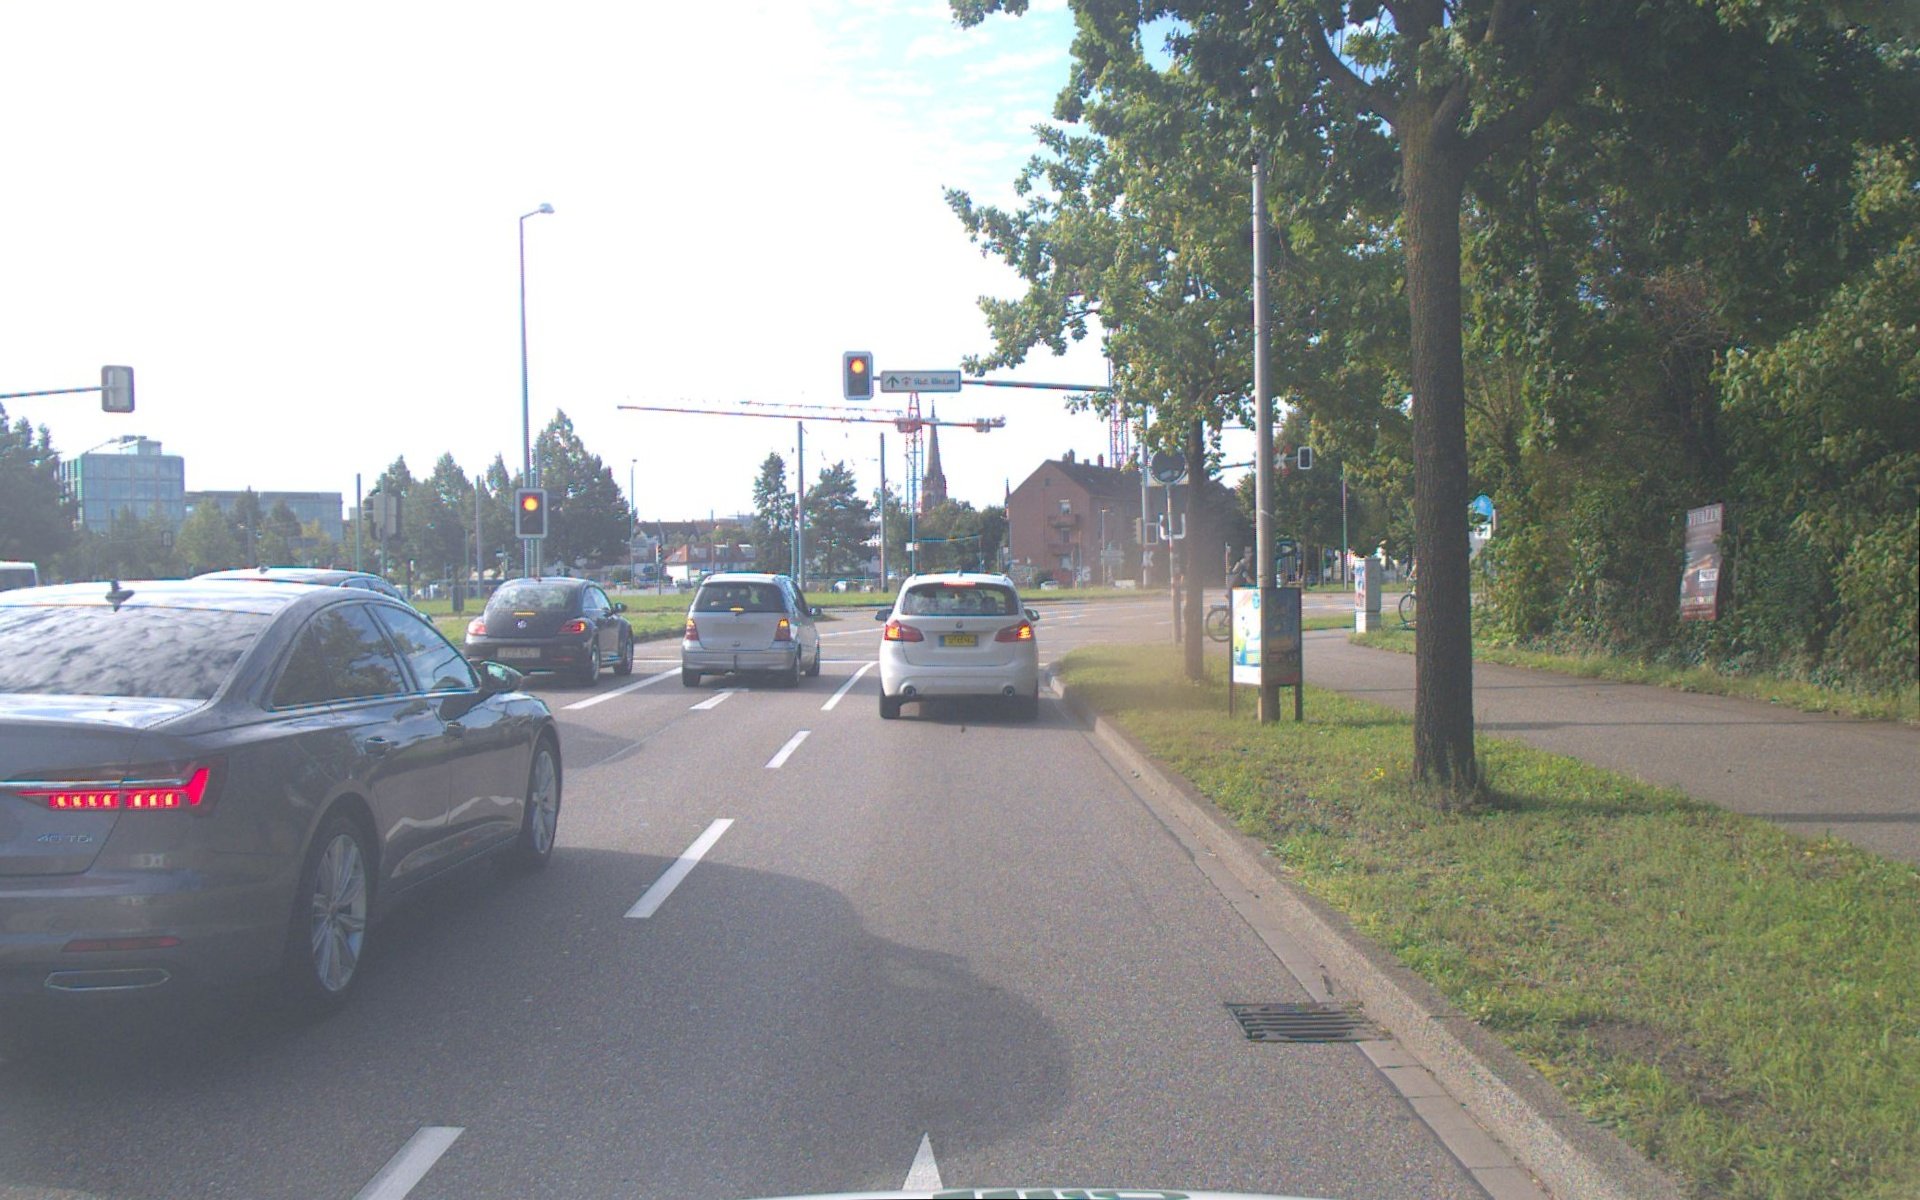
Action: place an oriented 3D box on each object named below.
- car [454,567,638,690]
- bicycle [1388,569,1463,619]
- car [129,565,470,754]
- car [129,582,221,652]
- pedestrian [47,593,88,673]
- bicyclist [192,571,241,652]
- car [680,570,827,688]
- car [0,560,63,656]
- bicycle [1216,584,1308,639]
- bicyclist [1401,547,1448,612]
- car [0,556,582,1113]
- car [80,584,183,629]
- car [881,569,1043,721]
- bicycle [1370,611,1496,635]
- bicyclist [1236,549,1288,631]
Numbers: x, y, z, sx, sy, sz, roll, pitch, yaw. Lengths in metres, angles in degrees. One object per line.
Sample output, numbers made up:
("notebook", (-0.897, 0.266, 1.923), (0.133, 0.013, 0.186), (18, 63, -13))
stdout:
("car", (-5.846, 0.340, 23.796), (1.686, 1.592, 3.877), (1, 1, -1))
("bicycle", (11.407, -0.156, 40.544), (1.698, 1.184, 0.653), (-1, 0, -17))
("car", (-6.162, 0.481, 15.948), (1.694, 1.585, 4.018), (0, 1, -1))
("car", (-19.833, 0.422, 41.899), (1.680, 1.600, 3.976), (-3, 1, -20))
("pedestrian", (-18.103, 0.662, 33.558), (0.649, 1.596, 0.608), (-1, 0, -35))
("bicyclist", (-15.821, 0.237, 35.197), (0.772, 1.697, 0.549), (-1, 0, -5))
("car", (-2.985, 0.369, 24.584), (1.694, 1.585, 4.058), (0, 1, -1))
("car", (-24.357, 0.239, 42.225), (1.967, 2.274, 5.881), (-3, 1, -24))
("bicycle", (6.375, 0.246, 34.926), (1.740, 1.068, 0.708), (-3, 0, -13))
("bicyclist", (11.378, -0.509, 40.513), (0.835, 1.553, 0.737), (-1, 0, -17))
("car", (-2.969, 0.620, 6.776), (1.851, 1.509, 4.612), (0, 0, -1))
("car", (-40.019, 0.291, 79.991), (1.786, 2.049, 4.232), (-2, -1, 26))
("car", (-0.010, 0.444, 19.375), (1.694, 1.585, 4.057), (0, 1, -1))
("bicycle", (9.370, 0.445, 32.903), (1.382, 0.392, 2.569), (-1, 1, -12))
("bicyclist", (6.380, -0.206, 34.926), (0.815, 1.676, 0.683), (-2, 0, -13))
